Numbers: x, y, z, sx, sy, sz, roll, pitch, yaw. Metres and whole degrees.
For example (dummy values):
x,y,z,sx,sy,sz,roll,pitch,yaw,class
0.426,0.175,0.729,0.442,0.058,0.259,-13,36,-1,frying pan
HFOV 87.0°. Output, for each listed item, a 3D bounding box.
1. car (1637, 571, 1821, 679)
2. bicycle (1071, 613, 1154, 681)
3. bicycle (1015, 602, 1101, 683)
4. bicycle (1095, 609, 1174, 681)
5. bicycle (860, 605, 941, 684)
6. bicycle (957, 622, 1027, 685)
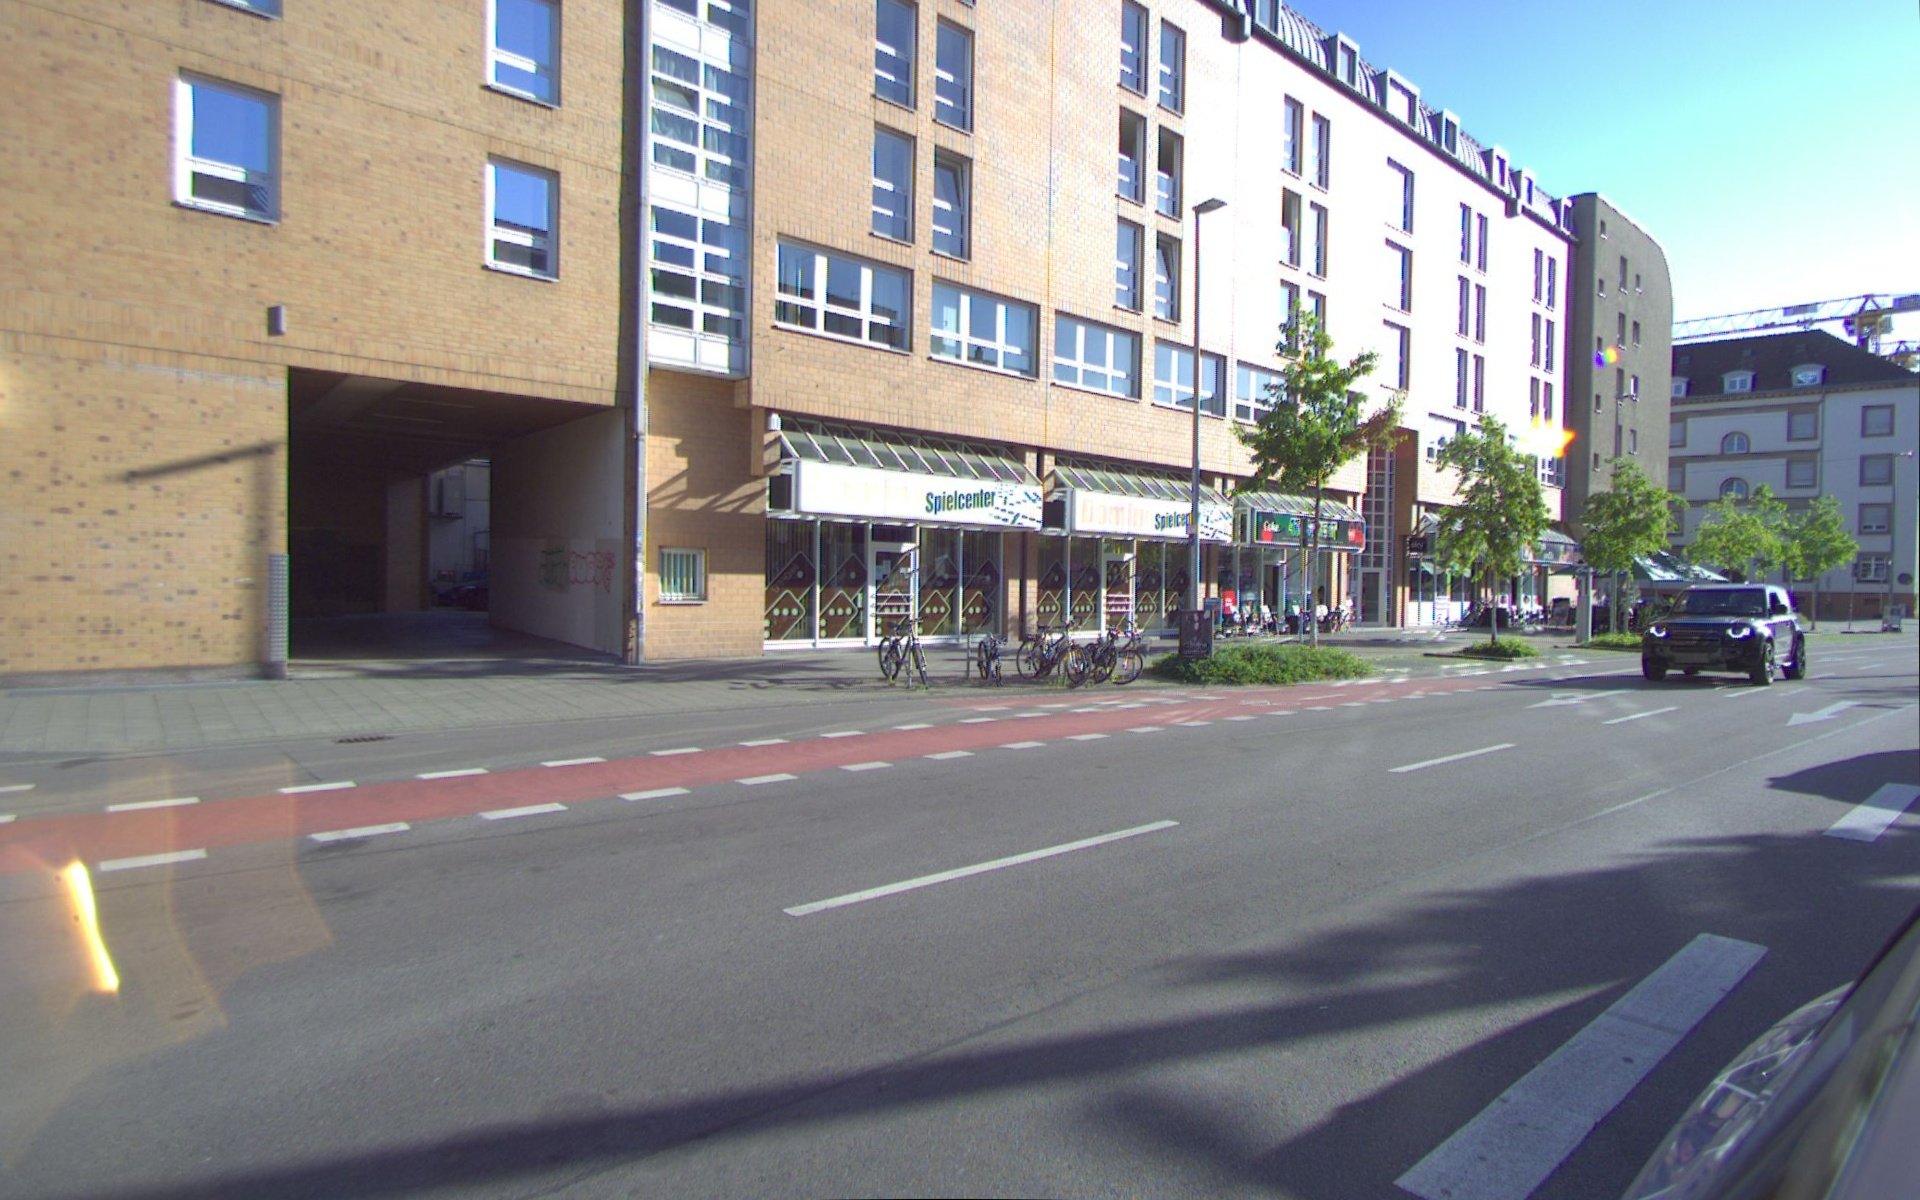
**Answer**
x,y,z,sx,sy,sz,roll,pitch,yaw,class
15.517,0.474,20.339,4.395,1.939,2.162,1,-1,-42,car
2.635,0.788,17.645,0.440,0.997,1.843,0,3,-26,bicycle
1.633,0.687,17.200,0.553,1.177,1.843,0,3,-26,bicycle
3.053,0.761,17.876,0.343,1.069,1.843,0,3,-26,bicycle
-0.985,0.685,16.313,0.423,1.089,1.776,-1,4,-35,bicycle
0.504,0.856,16.770,0.359,0.842,1.779,0,3,-26,bicycle
